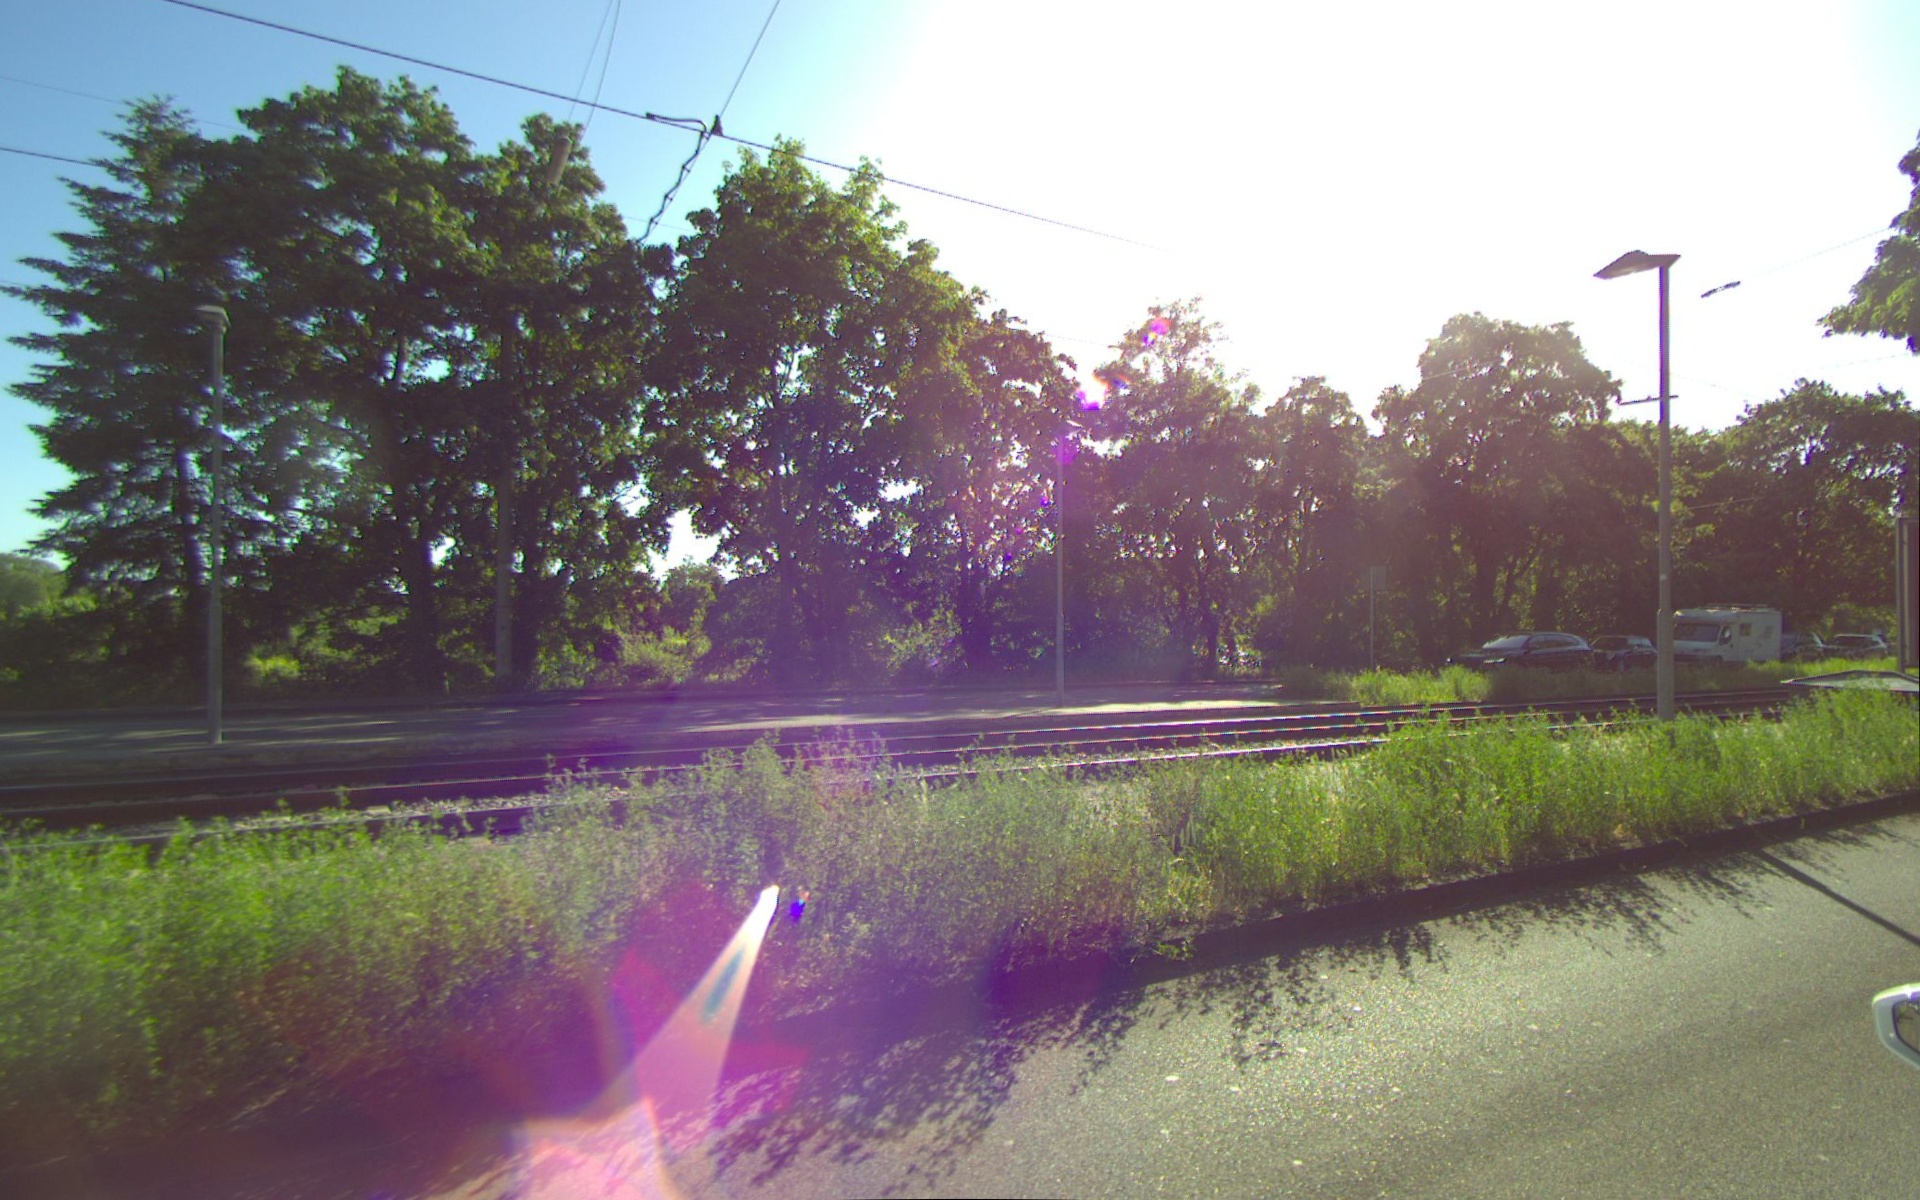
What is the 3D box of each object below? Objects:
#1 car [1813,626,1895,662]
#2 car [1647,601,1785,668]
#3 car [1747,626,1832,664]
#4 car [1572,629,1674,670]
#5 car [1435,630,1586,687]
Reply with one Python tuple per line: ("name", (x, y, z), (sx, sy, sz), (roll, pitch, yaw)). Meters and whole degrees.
("car", (43.661, 2.157, 49.066), (4.196, 1.605, 1.667), (2, 0, -29))
("car", (32.018, 1.410, 42.474), (6.718, 2.615, 2.215), (1, 0, -30))
("car", (38.250, 2.072, 46.289), (4.480, 1.644, 1.614), (2, 0, -31))
("car", (25.935, 1.925, 39.255), (3.952, 1.454, 1.703), (2, 0, -29))
("car", (15.841, 1.685, 28.869), (4.536, 1.514, 1.630), (2, -4, -29))
